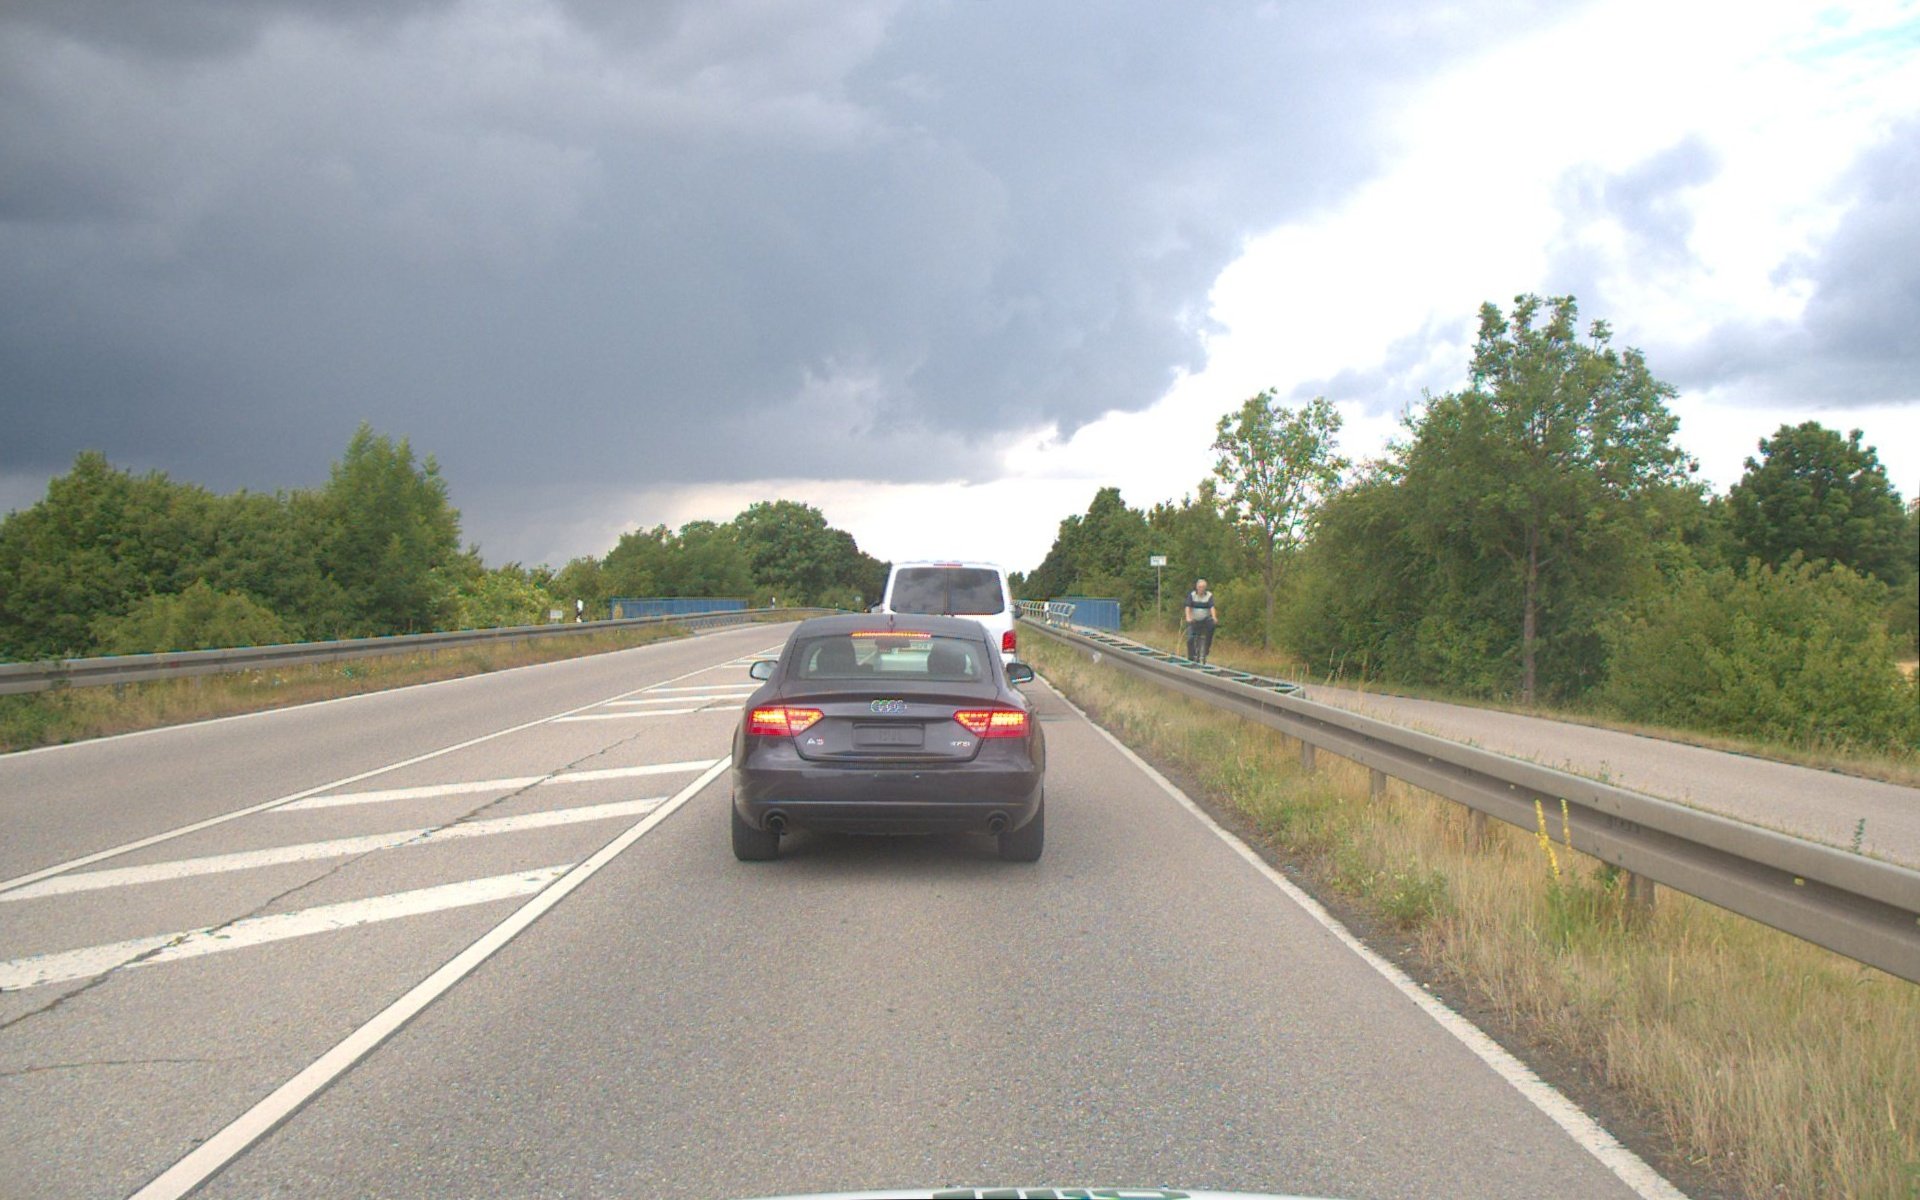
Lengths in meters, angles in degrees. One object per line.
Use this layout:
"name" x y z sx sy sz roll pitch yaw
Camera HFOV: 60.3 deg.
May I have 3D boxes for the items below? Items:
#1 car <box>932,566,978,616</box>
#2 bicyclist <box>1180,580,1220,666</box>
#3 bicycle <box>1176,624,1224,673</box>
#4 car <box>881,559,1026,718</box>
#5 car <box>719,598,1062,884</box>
"car" -0.269 -0.476 88.717 2.397 2.548 5.041 1 0 0
"bicyclist" 4.745 0.447 32.714 0.634 1.674 0.866 0 0 -1
"bicycle" 4.752 0.949 32.870 0.652 0.936 1.830 0 0 -1
"car" -0.107 0.487 22.234 1.749 1.923 3.999 1 -1 -1
"car" -0.378 0.744 10.527 1.749 1.448 3.999 1 -1 -1
